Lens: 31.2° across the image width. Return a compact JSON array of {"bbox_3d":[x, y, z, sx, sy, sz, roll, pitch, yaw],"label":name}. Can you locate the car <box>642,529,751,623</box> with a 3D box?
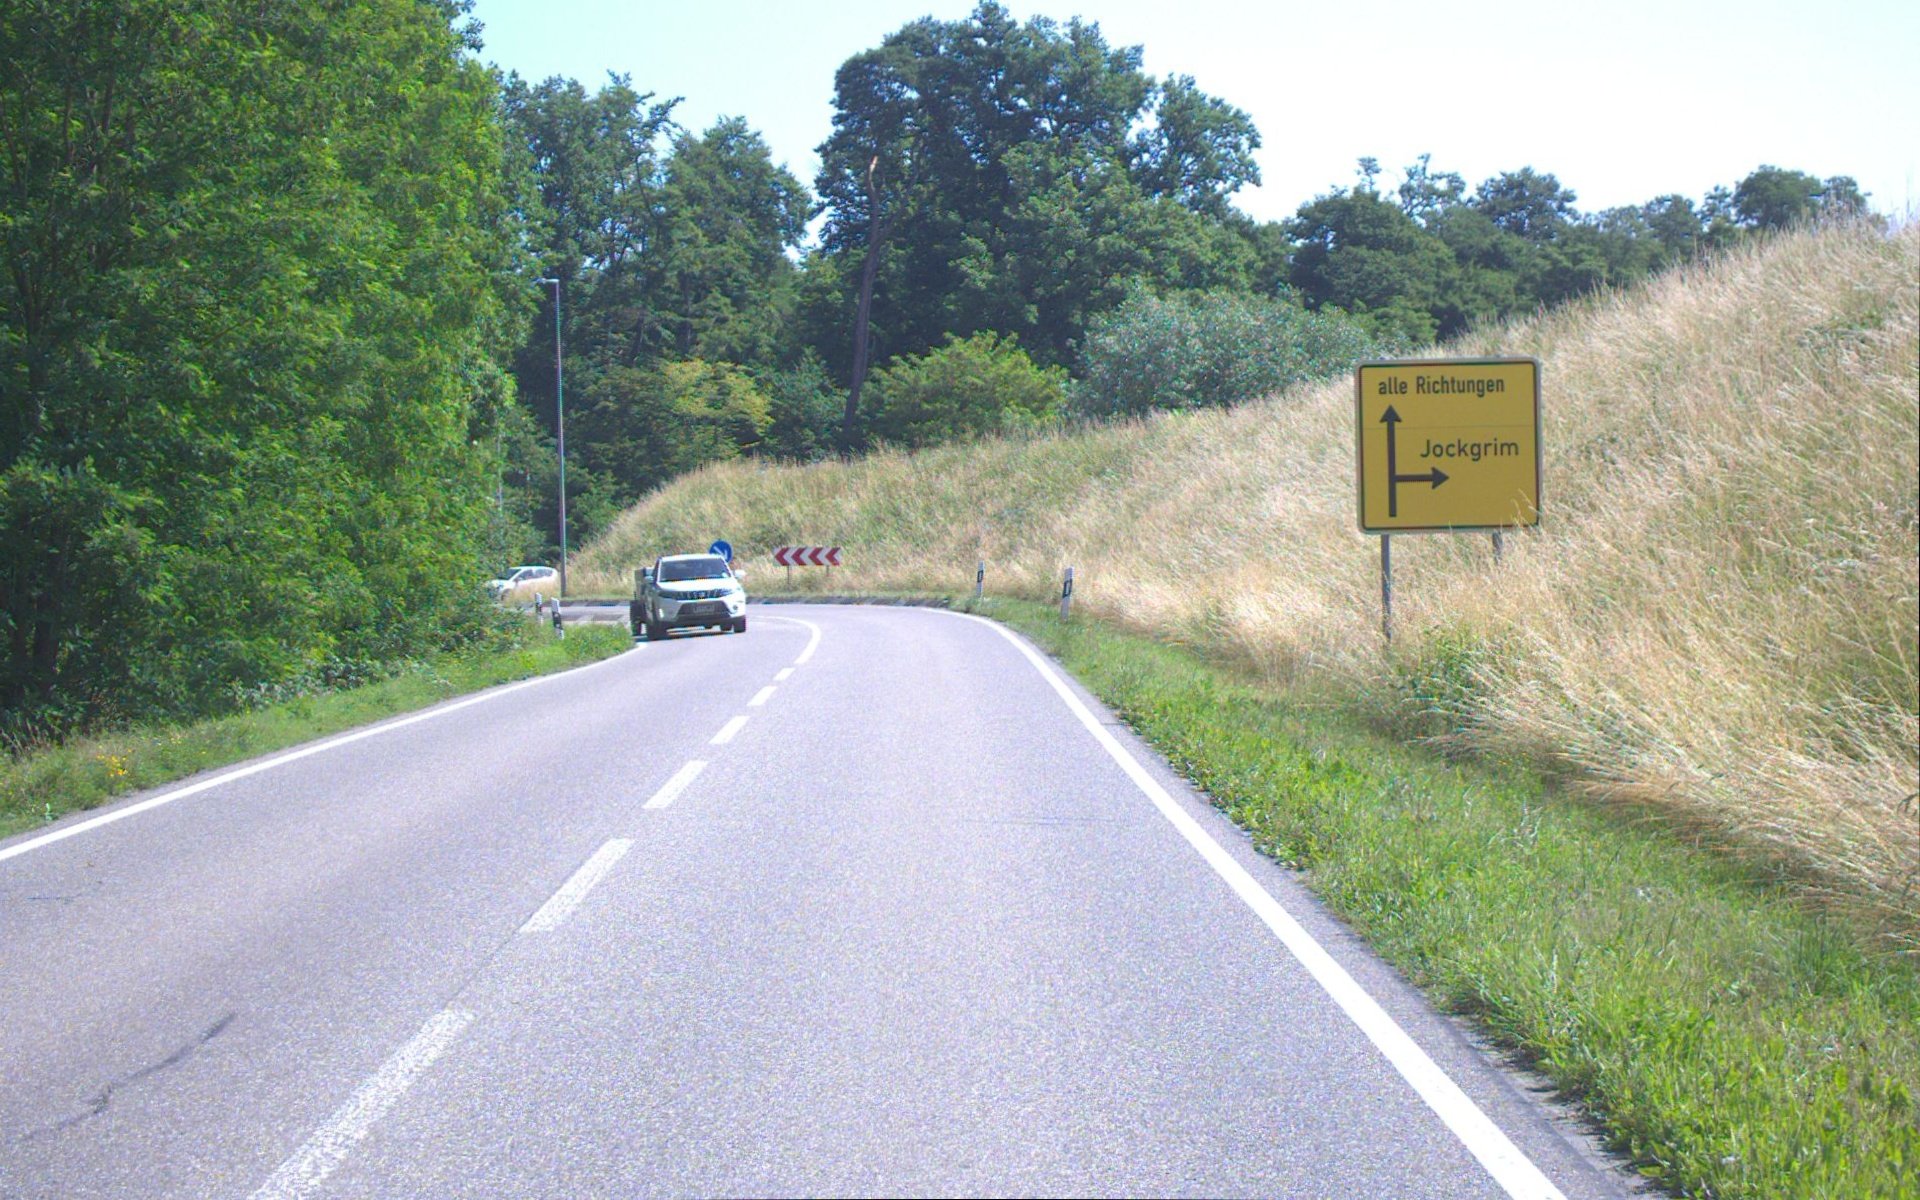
[{"bbox_3d":[-5.136,-0.496,67.535,1.809,1.671,4.000,-4,1,-1],"label":"car"}]
